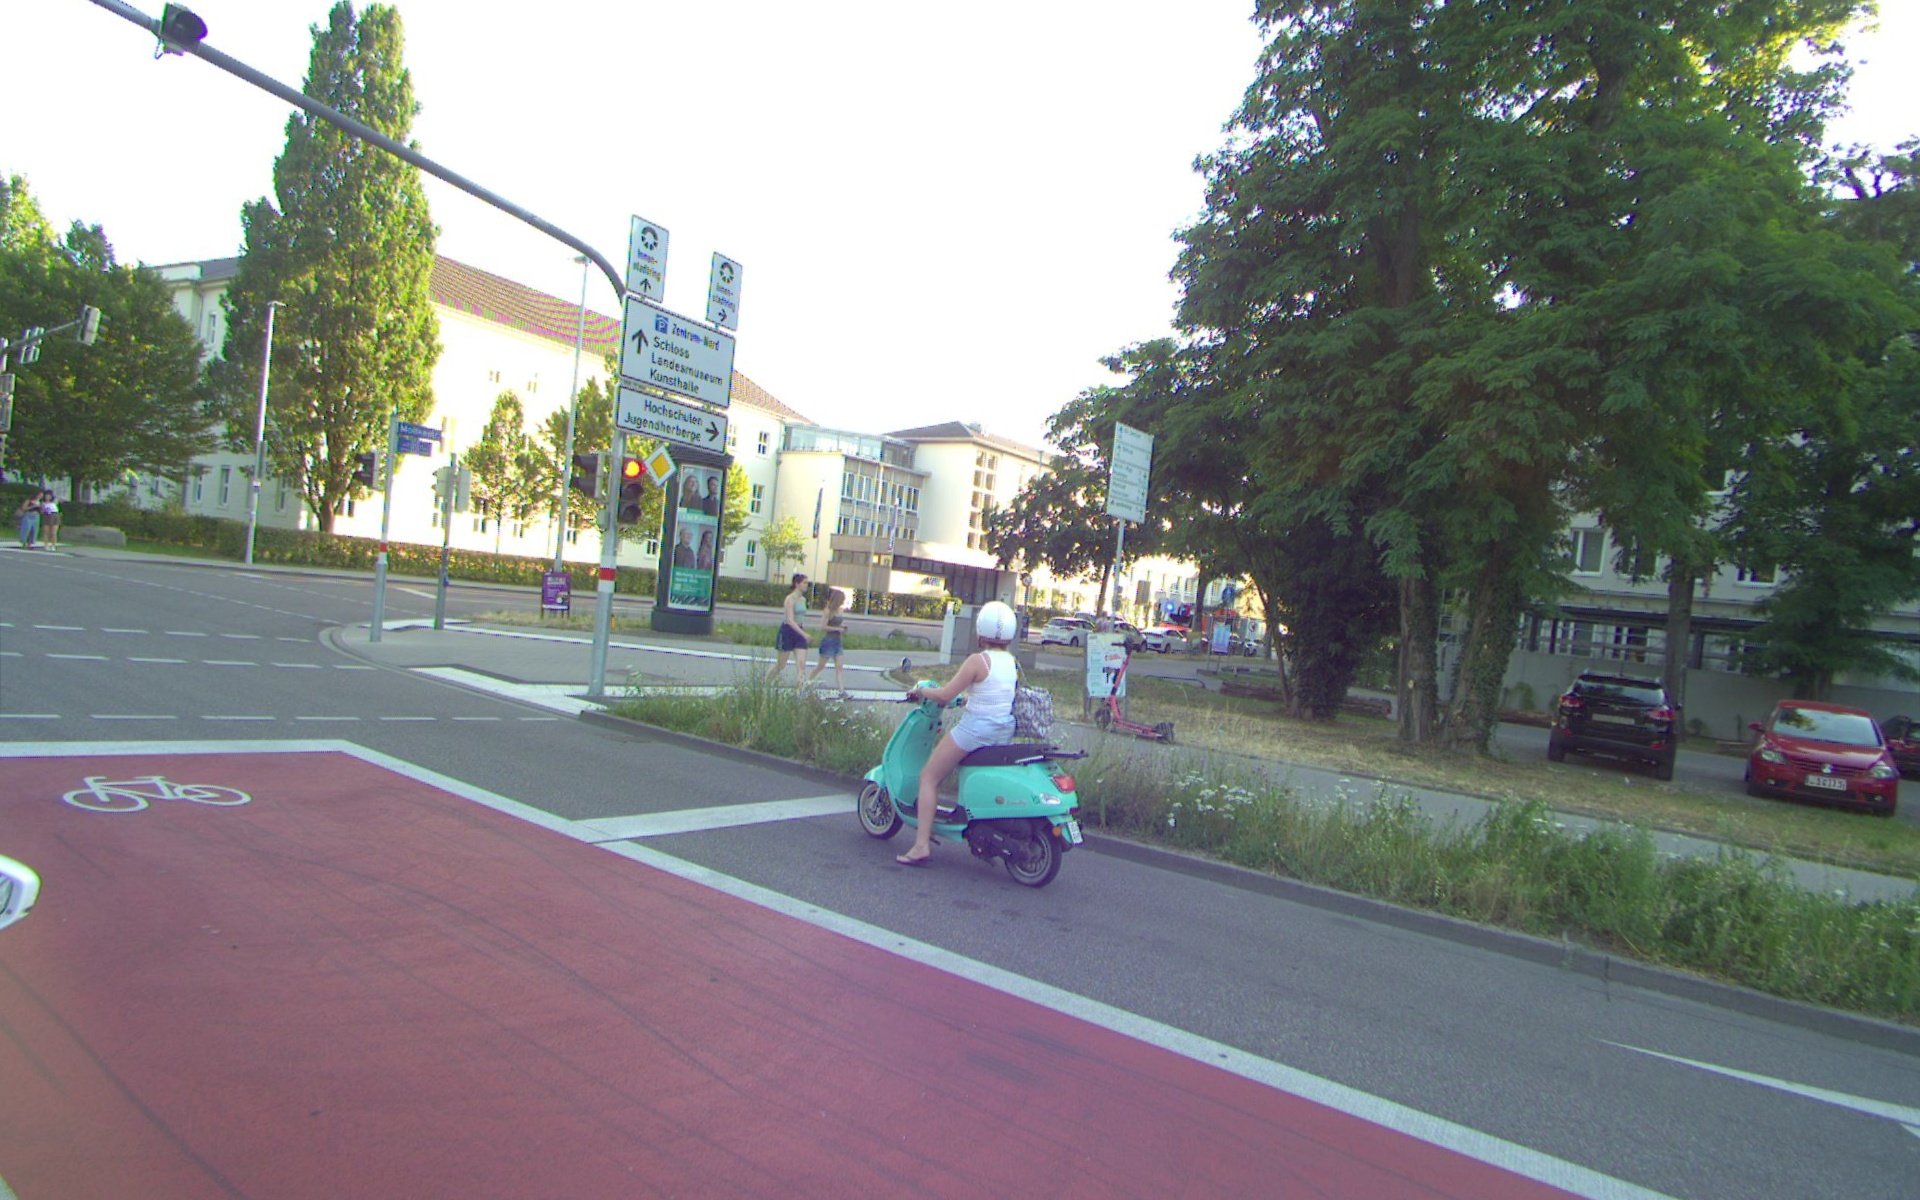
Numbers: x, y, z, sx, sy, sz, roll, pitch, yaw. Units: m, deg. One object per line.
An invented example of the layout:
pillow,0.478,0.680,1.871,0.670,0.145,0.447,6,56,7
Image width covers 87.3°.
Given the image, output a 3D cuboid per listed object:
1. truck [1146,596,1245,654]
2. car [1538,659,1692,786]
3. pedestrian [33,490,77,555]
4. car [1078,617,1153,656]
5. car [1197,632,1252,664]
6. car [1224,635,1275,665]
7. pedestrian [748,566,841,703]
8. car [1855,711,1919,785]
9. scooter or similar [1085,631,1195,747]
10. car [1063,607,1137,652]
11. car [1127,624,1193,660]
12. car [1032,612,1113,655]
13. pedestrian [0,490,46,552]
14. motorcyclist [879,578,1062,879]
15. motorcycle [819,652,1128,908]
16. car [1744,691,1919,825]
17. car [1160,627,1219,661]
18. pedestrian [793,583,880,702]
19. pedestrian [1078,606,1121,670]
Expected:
truck,15.935,1.777,67.367,2.599,3.179,10.243,6,0,35
car,11.774,2.093,17.954,1.890,1.762,4.223,7,0,37
pedestrian,-26.180,-2.239,29.106,0.677,1.776,0.681,8,2,31
car,7.963,1.879,51.310,1.970,1.632,3.985,7,0,37
car,16.742,3.035,63.528,1.969,1.660,3.987,7,0,35
car,19.666,3.406,68.205,1.969,1.660,3.987,7,0,35
pedestrian,-2.173,0.454,13.196,0.764,1.681,0.719,7,1,33
car,23.001,3.585,24.042,1.742,1.477,3.618,7,0,33
scooter or similar,2.276,1.111,12.755,1.159,1.288,0.440,7,1,31
car,7.742,1.650,55.278,2.024,1.884,4.486,7,-2,35
car,10.984,2.317,55.197,1.969,1.660,3.987,7,0,35
car,5.371,1.606,47.696,1.872,1.660,3.983,7,0,38
pedestrian,-26.559,-2.233,28.508,0.831,1.643,0.681,8,2,32
motorcyclist,0.073,0.796,6.495,0.680,1.758,0.737,7,1,40
motorcycle,0.035,1.069,6.498,1.866,1.212,0.681,7,0,40
car,14.055,2.423,16.376,1.890,1.631,3.984,7,0,38
car,13.712,2.653,59.981,1.969,1.660,3.987,7,0,35
pedestrian,-1.727,0.585,14.050,0.776,1.542,0.735,7,1,31
pedestrian,4.050,1.120,29.242,0.694,1.761,0.892,7,1,40
